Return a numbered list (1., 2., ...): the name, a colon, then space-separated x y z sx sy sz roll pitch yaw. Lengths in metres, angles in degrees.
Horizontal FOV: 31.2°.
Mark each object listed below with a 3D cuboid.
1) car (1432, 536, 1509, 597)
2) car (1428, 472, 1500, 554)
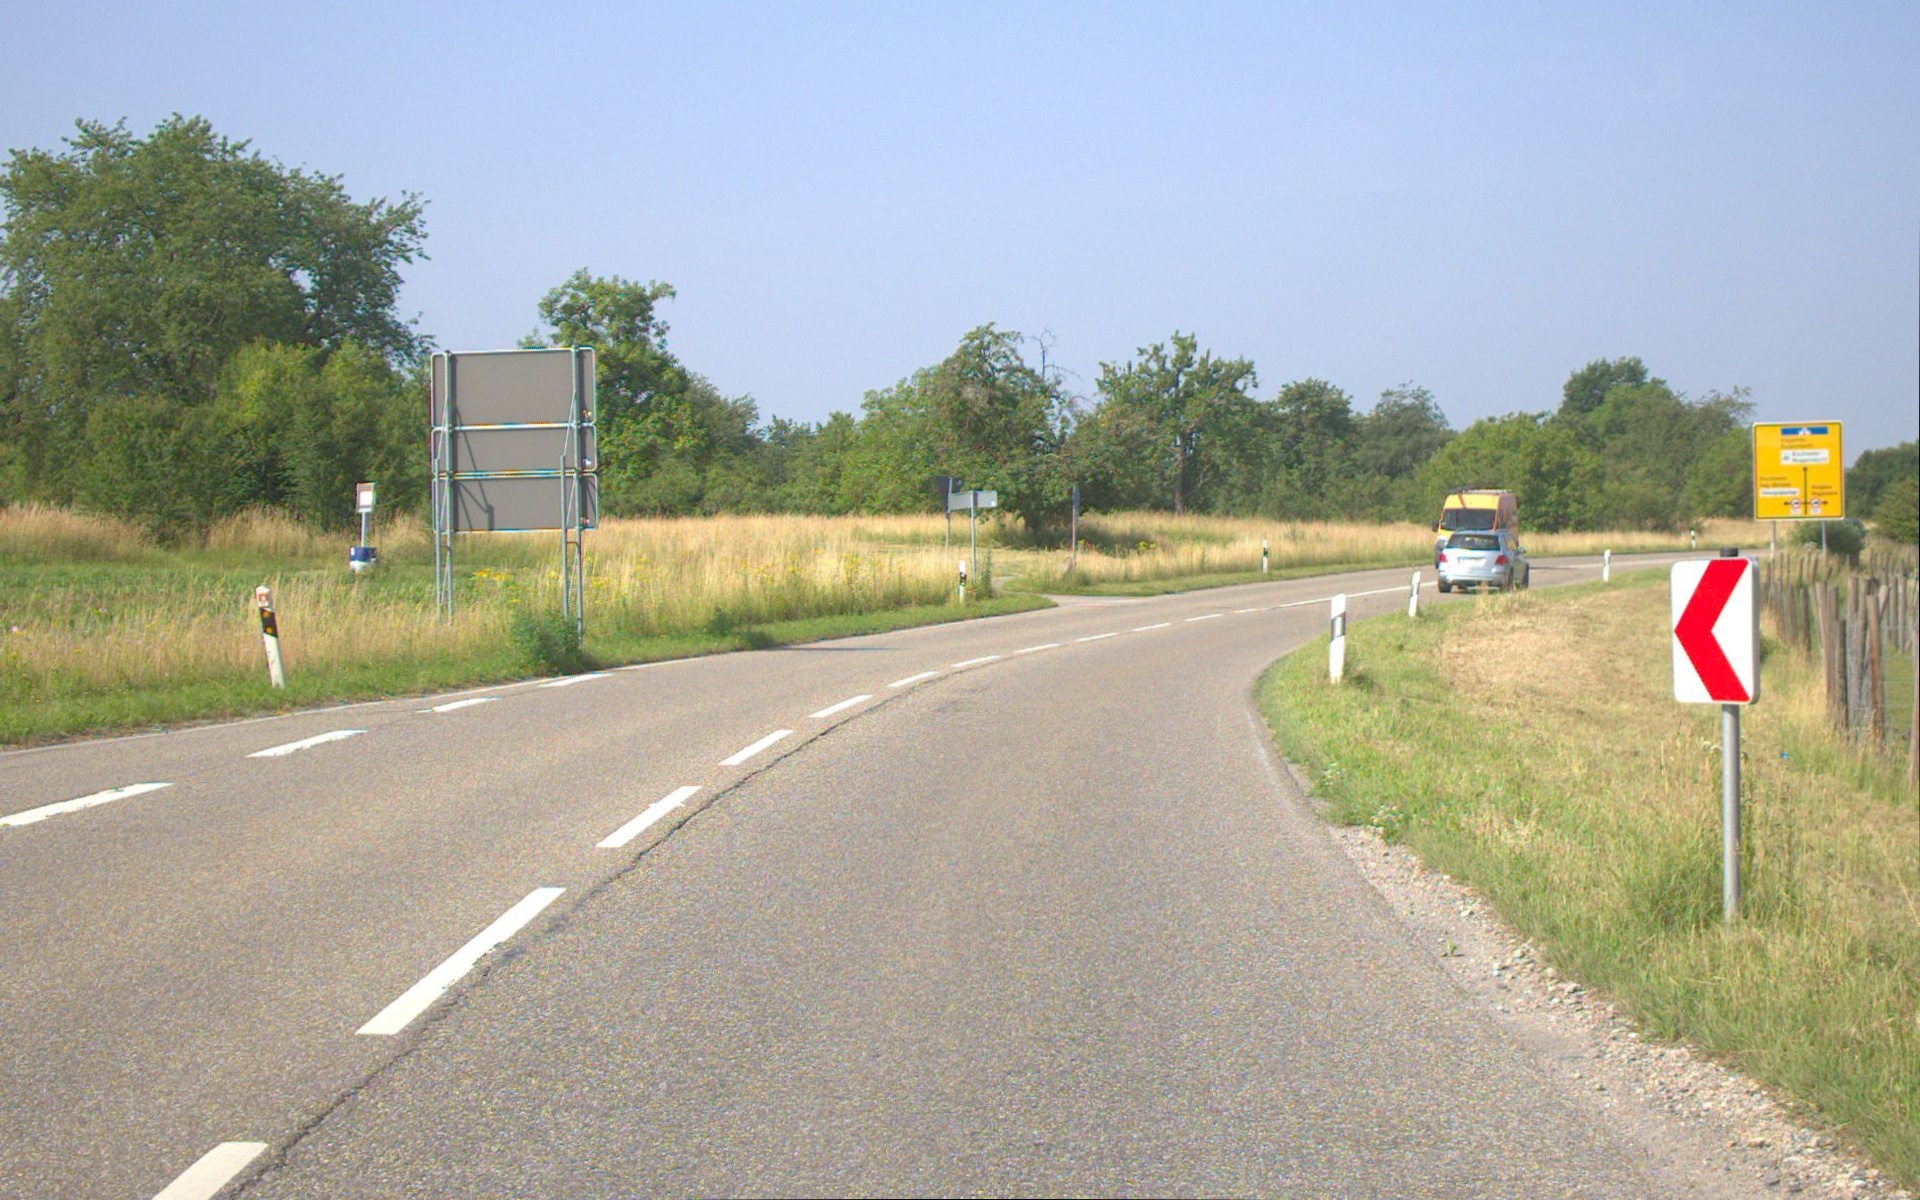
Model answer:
1. car: 13.188 -0.888 88.757 1.900 1.506 3.999 1 1 9
2. car: 16.913 -2.923 115.183 2.125 2.686 5.266 1 1 11
